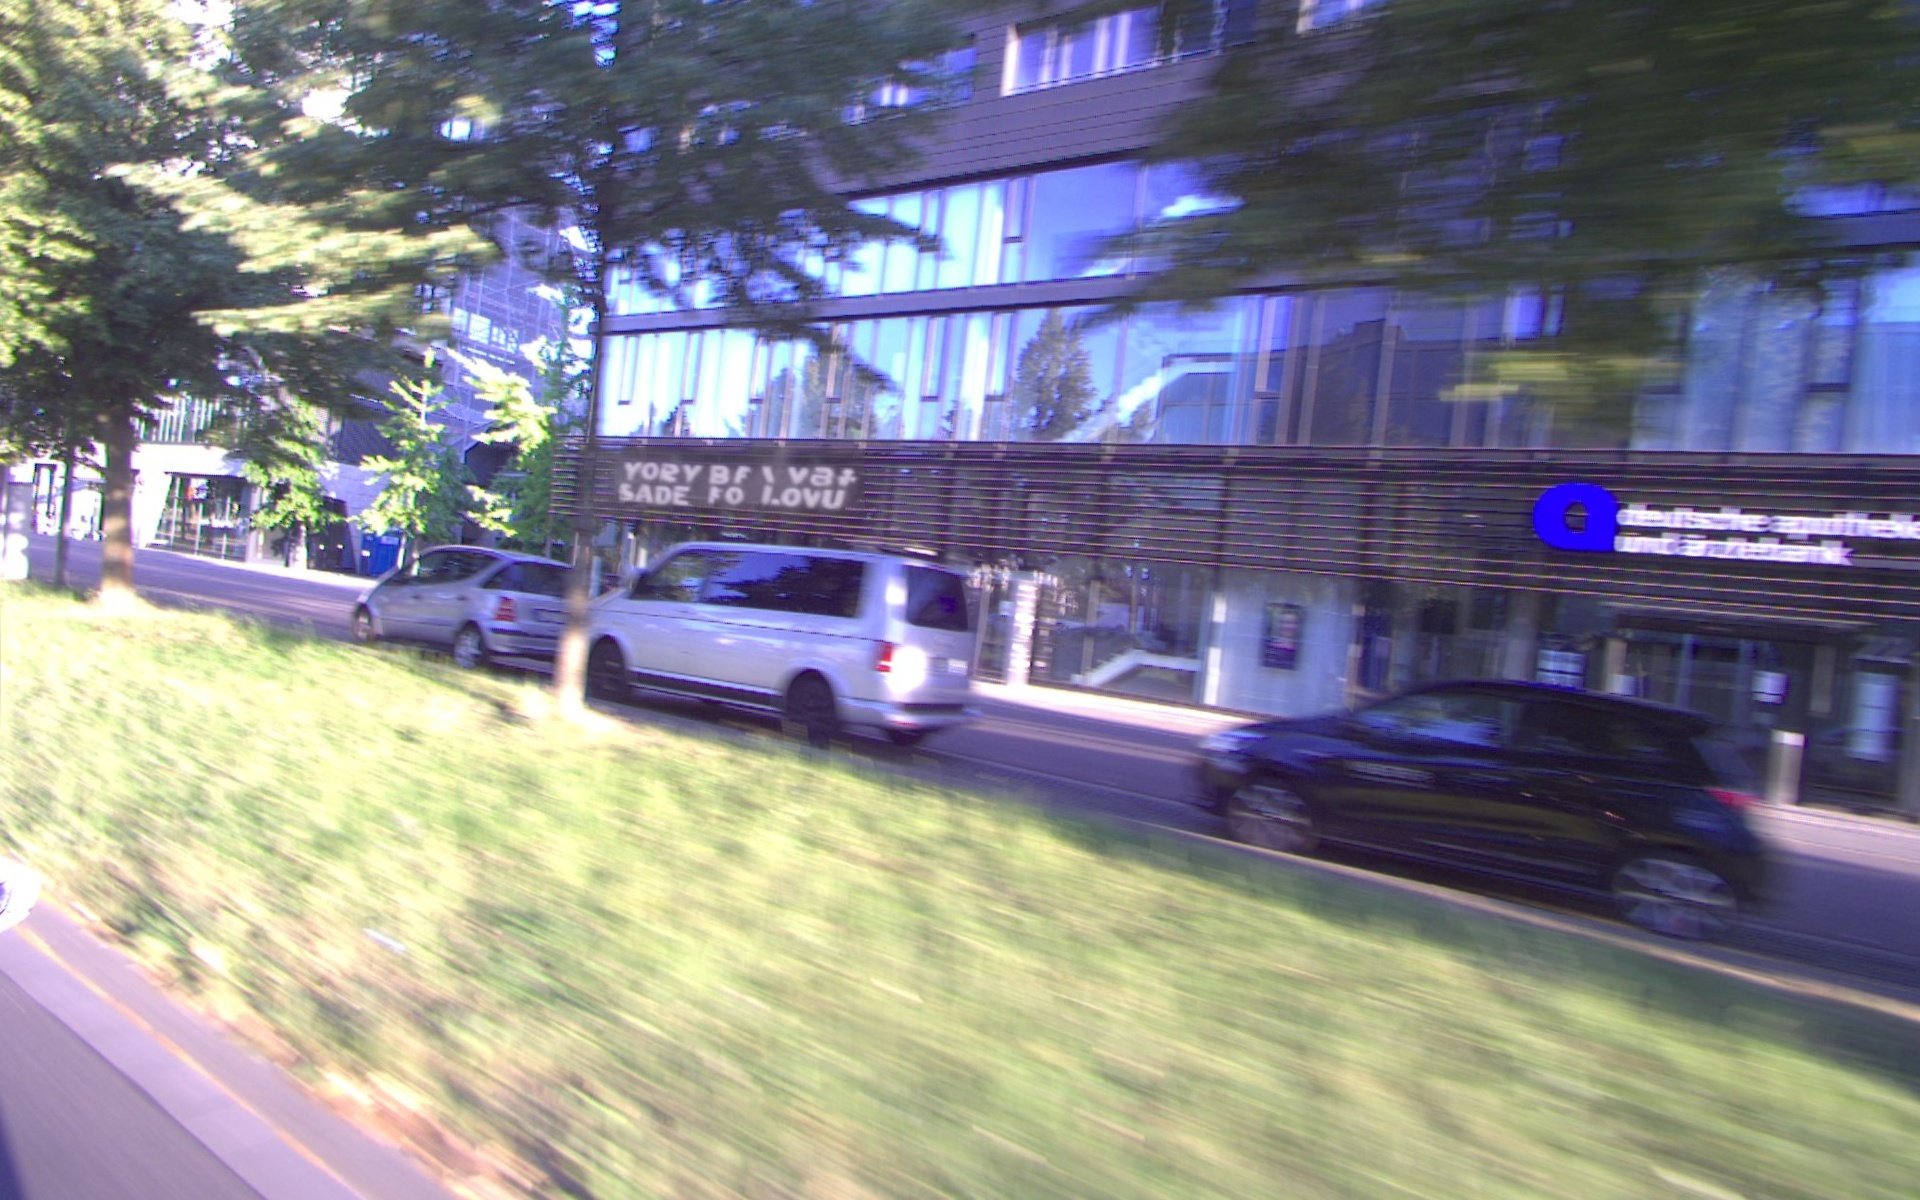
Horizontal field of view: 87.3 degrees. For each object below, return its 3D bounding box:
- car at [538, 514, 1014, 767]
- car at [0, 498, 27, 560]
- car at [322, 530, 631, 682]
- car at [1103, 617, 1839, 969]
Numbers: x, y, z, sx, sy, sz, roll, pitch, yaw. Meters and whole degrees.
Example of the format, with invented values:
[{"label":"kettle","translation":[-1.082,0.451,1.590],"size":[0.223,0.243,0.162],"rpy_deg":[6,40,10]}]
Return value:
[{"label":"car","translation":[-2.103,0.338,11.004],"size":[4.850,2.012,1.990],"rpy_deg":[6,-1,31]},{"label":"car","translation":[-26.428,-2.090,26.369],"size":[3.934,1.510,1.785],"rpy_deg":[6,-3,32]},{"label":"car","translation":[-6.754,0.066,13.976],"size":[3.993,1.589,1.842],"rpy_deg":[6,-1,31]},{"label":"car","translation":[3.458,1.216,7.452],"size":[4.220,1.511,1.865],"rpy_deg":[6,-5,32]}]
